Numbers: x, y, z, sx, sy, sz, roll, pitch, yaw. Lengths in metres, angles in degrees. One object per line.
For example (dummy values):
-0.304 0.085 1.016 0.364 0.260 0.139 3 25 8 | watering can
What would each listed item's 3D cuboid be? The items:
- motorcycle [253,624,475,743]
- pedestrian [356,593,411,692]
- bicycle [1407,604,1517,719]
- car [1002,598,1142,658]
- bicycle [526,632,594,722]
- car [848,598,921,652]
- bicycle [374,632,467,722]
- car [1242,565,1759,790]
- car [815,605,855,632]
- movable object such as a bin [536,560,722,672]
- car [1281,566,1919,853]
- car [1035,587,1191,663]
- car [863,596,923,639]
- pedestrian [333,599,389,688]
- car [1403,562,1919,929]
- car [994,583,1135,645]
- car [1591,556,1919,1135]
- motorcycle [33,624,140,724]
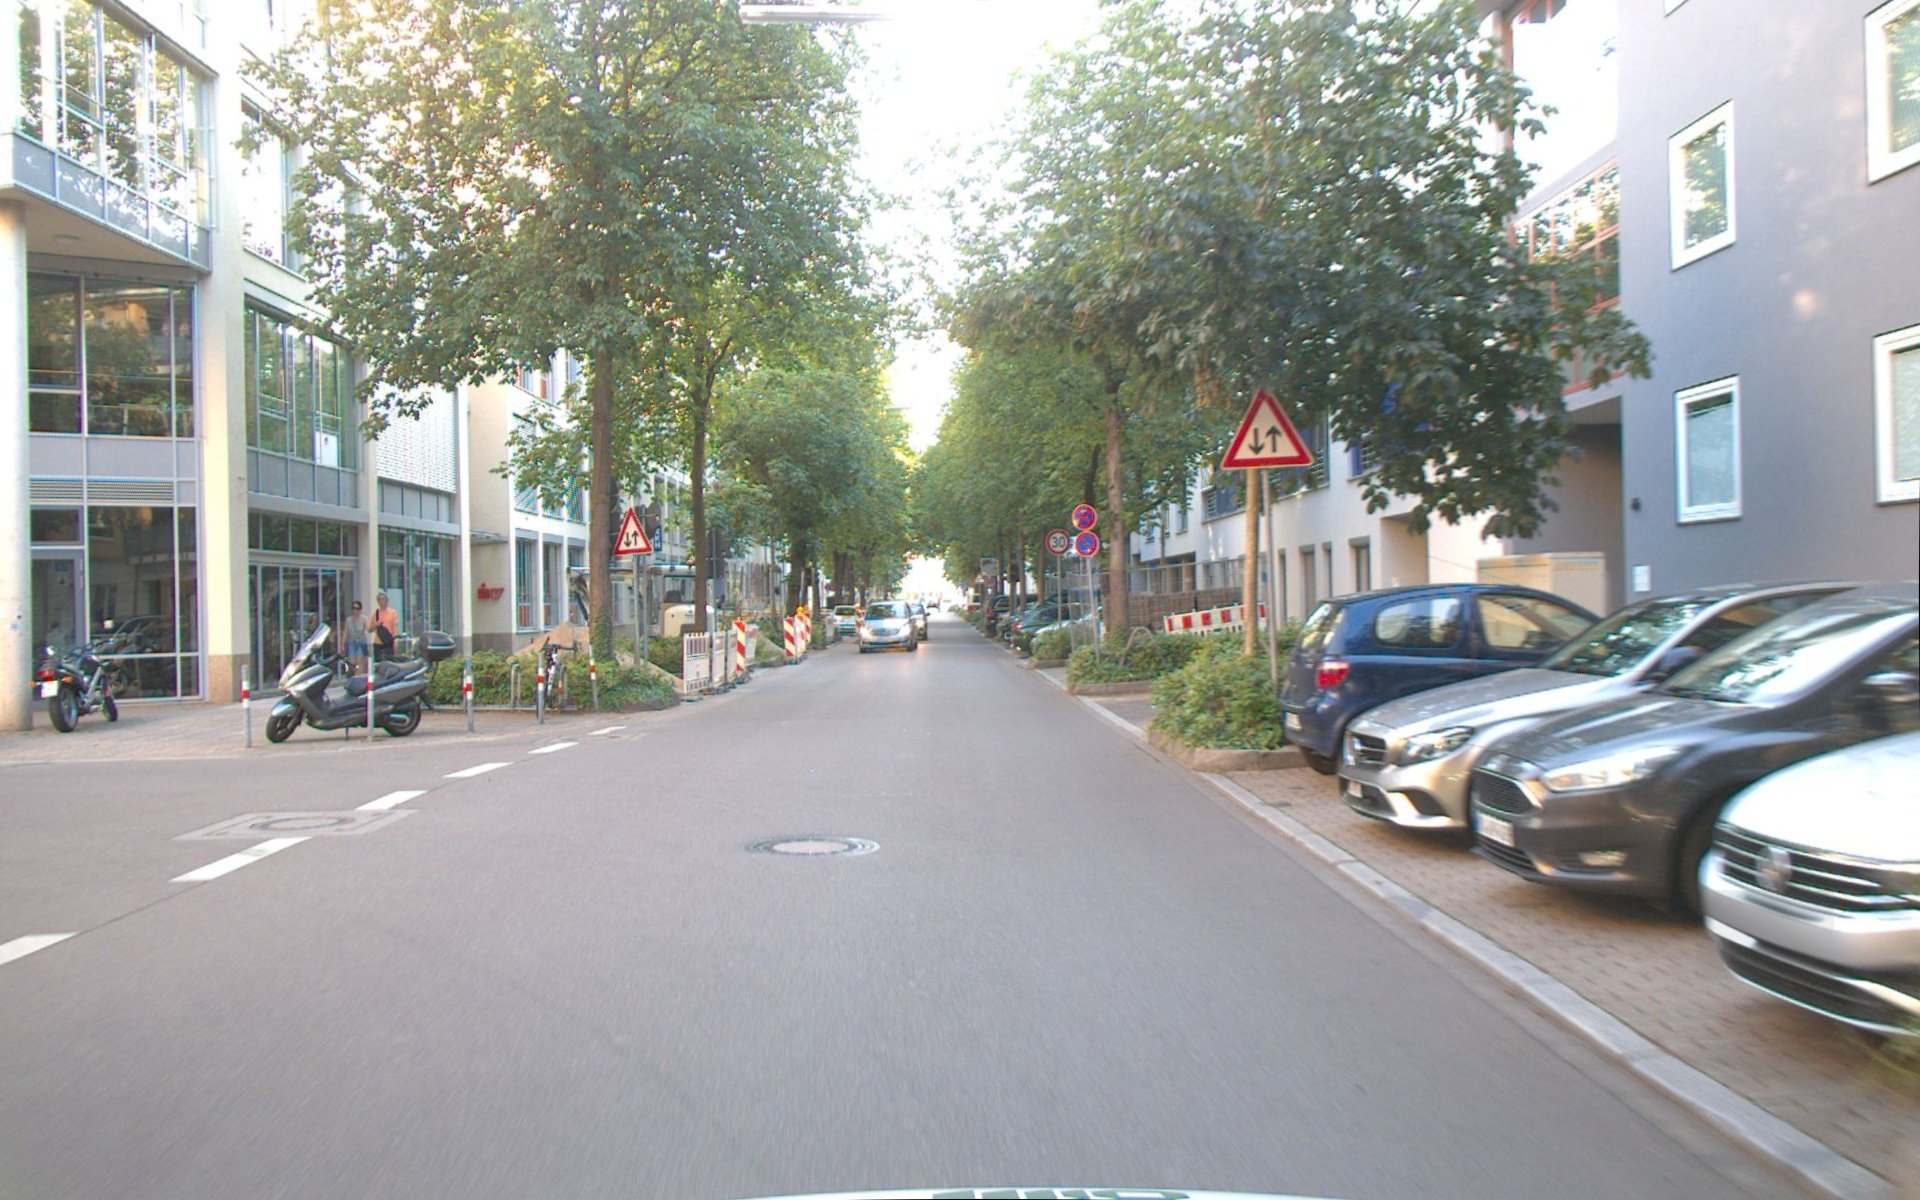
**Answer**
-7.287 0.980 20.283 2.336 1.304 1.051 -2 1 -42 | motorcycle
-10.232 0.749 29.374 0.724 1.720 0.607 -1 0 0 | pedestrian
5.891 0.698 19.510 0.811 1.256 1.804 -1 0 3 | bicycle
3.167 0.794 47.412 3.905 1.613 2.000 -1 0 0 | car
-5.768 1.087 23.933 0.670 1.173 1.978 -1 0 -6 | bicycle
-2.436 0.792 54.270 1.968 1.641 4.121 -1 0 3 | car
-7.761 1.087 23.867 0.669 1.173 1.981 -1 0 0 | bicycle
4.148 0.567 13.101 3.467 1.591 1.831 -1 0 -2 | car
-6.319 0.906 83.246 1.955 1.310 3.996 -1 0 -5 | car
-7.601 0.341 38.426 3.969 2.425 2.780 -1 0 -7 | movable object such as a bin
4.501 0.612 10.448 4.528 1.599 2.010 -1 0 -2 | car
3.917 0.633 42.851 3.904 1.836 2.001 -1 0 2 | car
-2.928 0.722 71.462 1.914 1.744 4.690 -1 0 -10 | car
-10.716 0.766 29.593 0.754 1.562 0.642 -1 0 -1 | pedestrian
4.766 0.606 8.060 4.684 1.547 1.991 -1 0 0 | car
3.537 0.469 56.442 4.643 2.049 1.999 0 0 -2 | car
4.733 0.576 5.457 4.529 1.529 1.960 -2 0 -3 | car
-11.441 0.936 21.740 0.546 1.192 2.302 -1 0 -10 | motorcycle
